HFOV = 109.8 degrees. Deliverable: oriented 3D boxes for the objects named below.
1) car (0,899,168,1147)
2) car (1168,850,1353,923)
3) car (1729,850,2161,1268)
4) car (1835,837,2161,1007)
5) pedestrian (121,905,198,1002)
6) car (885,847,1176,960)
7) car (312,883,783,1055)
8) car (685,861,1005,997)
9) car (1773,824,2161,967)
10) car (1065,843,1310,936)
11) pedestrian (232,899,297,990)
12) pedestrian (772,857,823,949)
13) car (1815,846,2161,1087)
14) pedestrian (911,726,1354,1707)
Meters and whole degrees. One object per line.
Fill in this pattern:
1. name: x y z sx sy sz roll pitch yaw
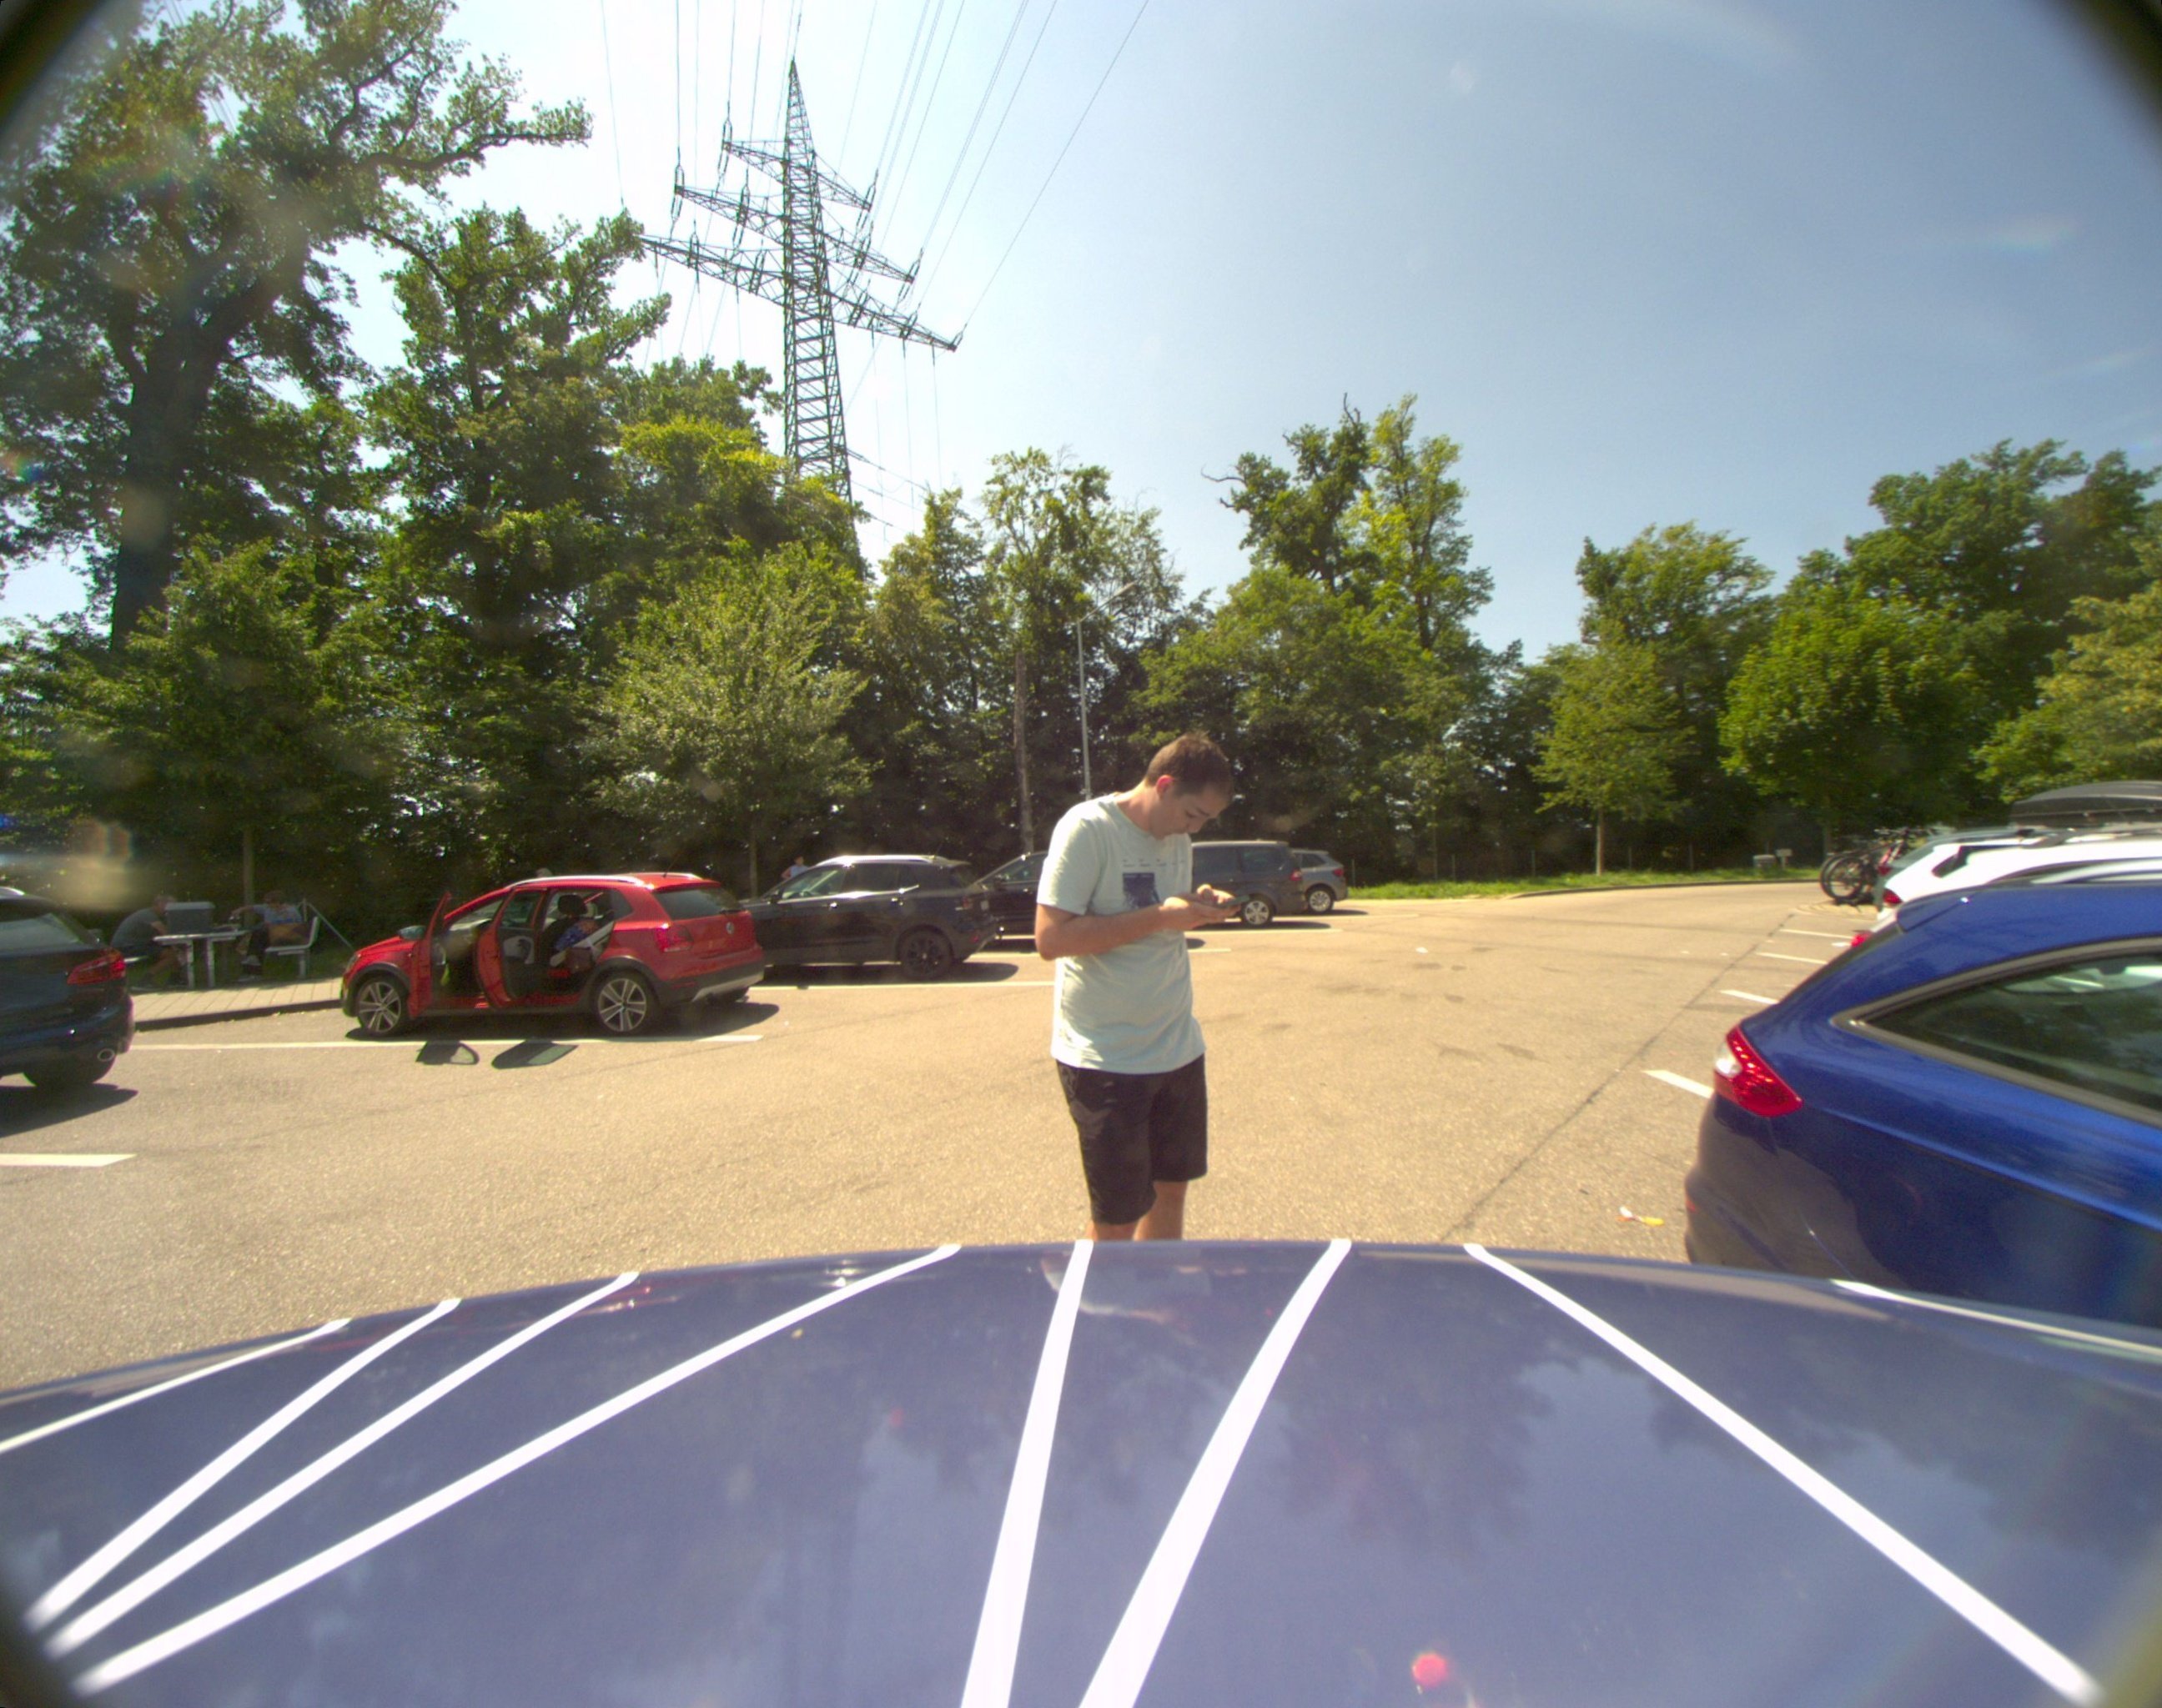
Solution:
1. car: -8.889 1.161 4.993 3.934 1.534 1.812 -2 0 7
2. car: 4.139 0.736 18.011 3.996 1.495 1.687 -2 1 3
3. car: 4.869 0.737 2.355 1.776 1.491 4.495 -3 -1 -1
4. car: 10.105 0.565 6.900 1.777 1.418 4.493 -3 -1 -5
5. pedestrian: -12.636 1.338 10.440 0.695 1.228 0.588 -3 0 43
6. car: -0.748 0.801 13.088 4.610 1.703 2.001 -2 1 9
7. car: -5.193 1.088 7.638 3.730 1.440 1.591 -2 0 7
8. car: -3.037 0.945 10.315 3.732 1.578 1.739 -2 0 2
9. car: 12.536 0.470 10.371 1.777 1.541 4.493 -3 -1 -5
10. car: 2.135 0.706 15.472 4.619 1.701 1.740 -2 0 9
11. pedestrian: -11.955 1.304 11.128 0.695 1.228 0.588 -3 0 43
12. pedestrian: -5.844 0.985 15.681 0.519 1.821 0.767 -1 2 45
13. car: 7.472 0.669 4.514 1.776 1.418 4.495 -3 -1 -1
14. pedestrian: 0.144 0.715 2.009 0.863 1.940 0.686 -3 2 -39
